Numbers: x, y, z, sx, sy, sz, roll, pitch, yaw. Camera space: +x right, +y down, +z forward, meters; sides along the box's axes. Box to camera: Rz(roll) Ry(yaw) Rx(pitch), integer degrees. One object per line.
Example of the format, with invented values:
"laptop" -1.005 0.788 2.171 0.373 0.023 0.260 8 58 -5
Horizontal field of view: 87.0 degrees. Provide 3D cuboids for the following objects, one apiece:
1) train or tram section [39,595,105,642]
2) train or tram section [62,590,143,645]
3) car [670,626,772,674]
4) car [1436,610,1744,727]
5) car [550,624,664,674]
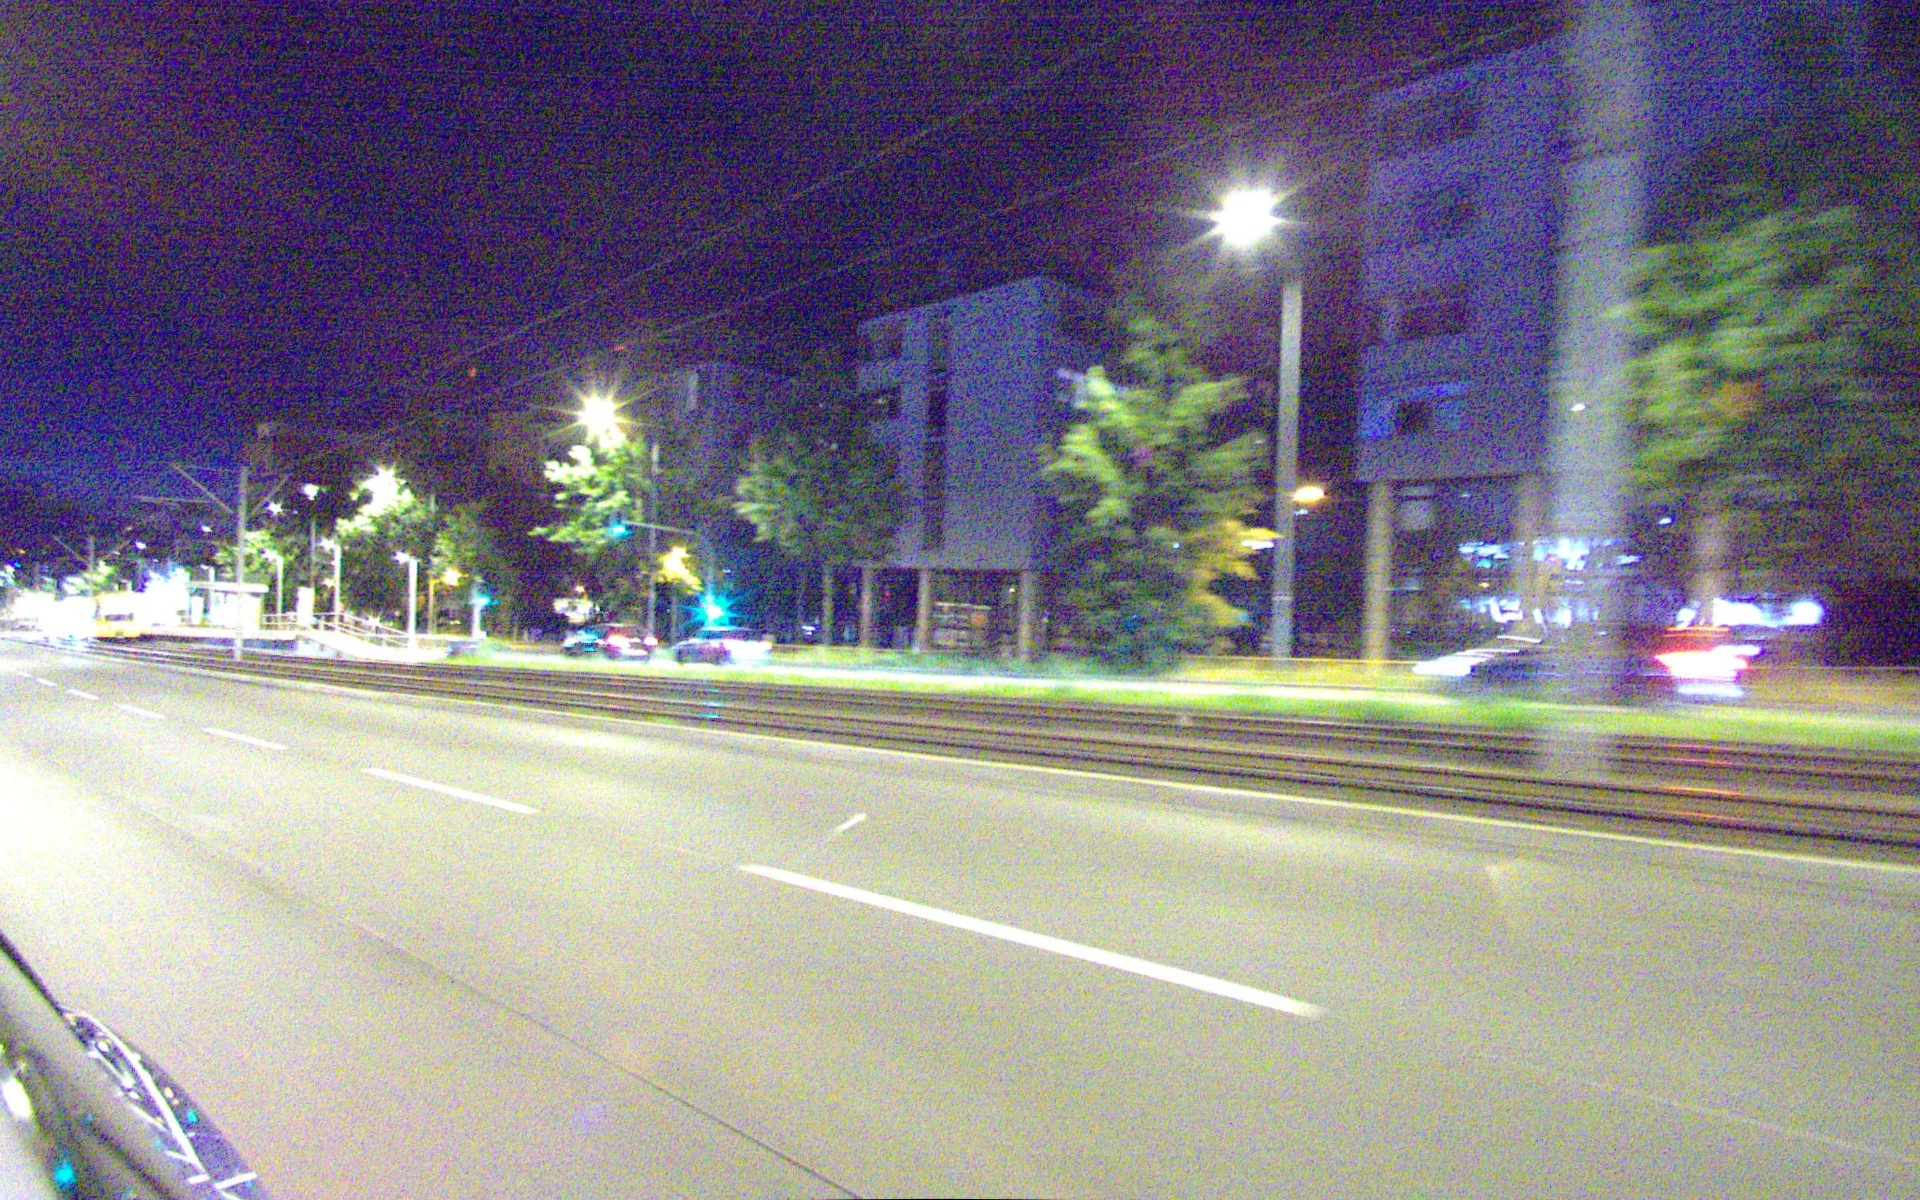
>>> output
"train or tram section" -80.177 1.638 91.183 19.366 3.875 2.708 -1 -1 44
"train or tram section" -66.399 1.366 78.118 18.671 3.856 2.728 -1 -1 43
"car" -8.435 1.705 35.541 3.911 1.528 1.642 0 -1 44
"car" 10.593 1.046 17.203 4.226 1.726 1.760 0 -1 42
"car" -12.253 1.635 35.029 4.170 1.508 1.767 1 0 39
